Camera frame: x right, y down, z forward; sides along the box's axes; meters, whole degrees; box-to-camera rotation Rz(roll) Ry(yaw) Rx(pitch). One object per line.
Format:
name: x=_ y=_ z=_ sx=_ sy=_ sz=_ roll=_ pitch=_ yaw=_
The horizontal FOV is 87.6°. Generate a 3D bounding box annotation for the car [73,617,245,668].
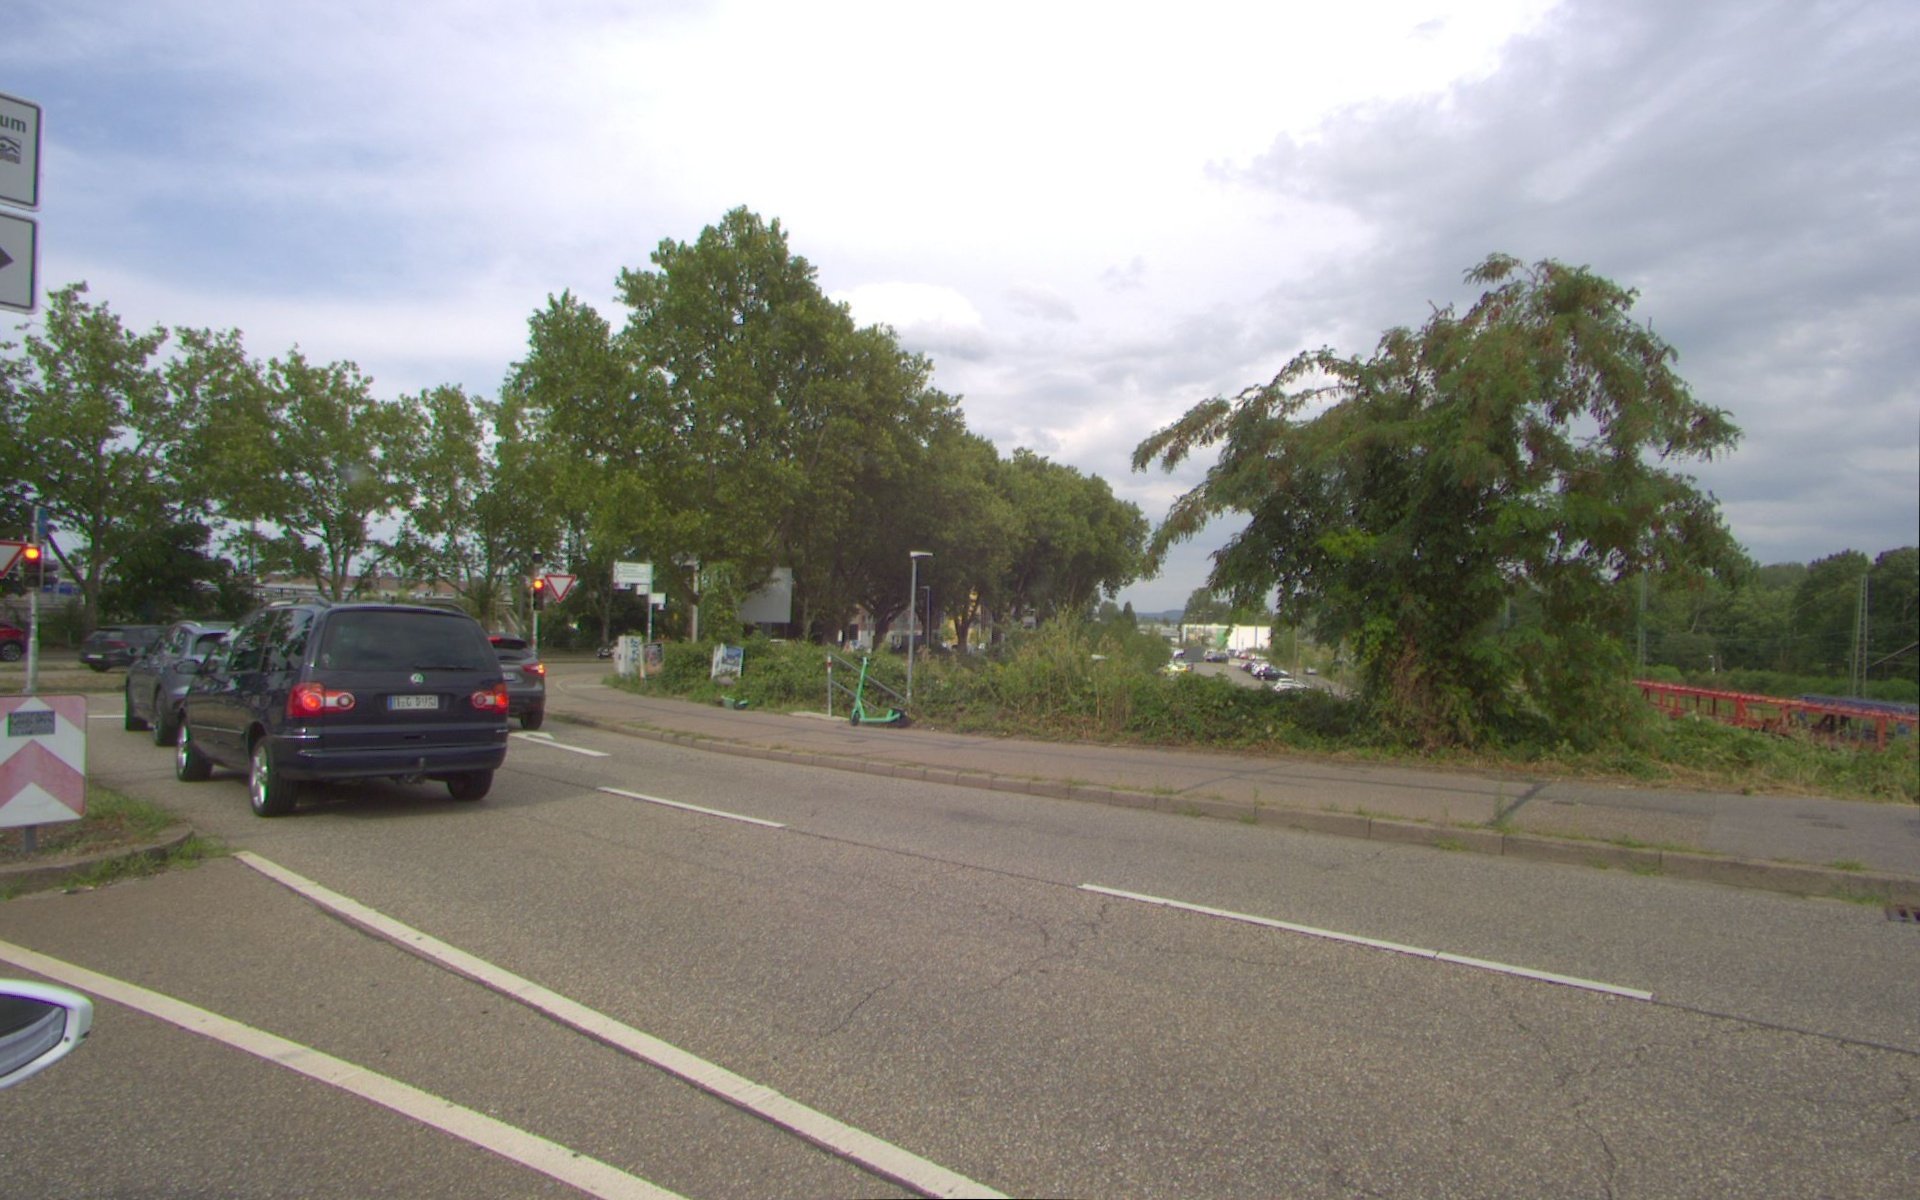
car: x=-25.189 y=1.312 z=31.672 sx=1.671 sy=1.469 sz=4.068 roll=0 pitch=-2 yaw=14

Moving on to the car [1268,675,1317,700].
car: x=30.023 y=7.915 z=90.495 sx=3.923 sy=2.040 sz=1.762 roll=1 pitch=-1 yaw=10

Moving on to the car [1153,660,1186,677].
car: x=26.713 y=8.709 z=127.670 sx=3.926 sy=2.040 sz=1.761 roll=1 pitch=-1 yaw=16

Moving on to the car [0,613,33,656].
car: x=-33.696 y=1.138 z=33.285 sx=1.670 sy=1.466 sz=3.963 roll=0 pitch=-1 yaw=12

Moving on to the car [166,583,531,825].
car: x=-5.785 y=0.848 z=9.269 sx=4.092 sy=1.746 sz=1.743 roll=-1 pitch=-4 yaw=42

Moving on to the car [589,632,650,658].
car: x=-22.257 y=2.900 z=65.575 sx=1.876 sy=1.616 sz=3.909 roll=1 pitch=-1 yaw=15

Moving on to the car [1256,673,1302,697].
car: x=30.174 y=8.020 z=94.816 sx=3.923 sy=2.040 sz=1.762 roll=1 pitch=-1 yaw=10

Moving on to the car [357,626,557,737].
car: x=-8.679 y=1.324 z=17.129 sx=4.094 sy=1.663 sz=1.742 roll=-2 pitch=-4 yaw=44

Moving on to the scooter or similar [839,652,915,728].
scooter or similar: x=-1.365 y=1.456 z=16.440 sx=1.262 sy=1.198 sz=0.396 roll=-1 pitch=-1 yaw=32

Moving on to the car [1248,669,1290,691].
car: x=32.110 y=8.290 z=104.245 sx=3.923 sy=2.040 sz=1.762 roll=1 pitch=-1 yaw=10

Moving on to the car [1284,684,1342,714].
car: x=26.893 y=7.506 z=76.367 sx=3.923 sy=2.040 sz=1.762 roll=1 pitch=-1 yaw=10

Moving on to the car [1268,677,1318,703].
car: x=28.970 y=7.811 z=87.182 sx=3.923 sy=2.040 sz=1.762 roll=1 pitch=-1 yaw=10

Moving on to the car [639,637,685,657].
car: x=-22.920 y=3.609 z=77.167 sx=1.670 sy=1.466 sz=3.963 roll=0 pitch=-1 yaw=12

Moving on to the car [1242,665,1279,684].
car: x=34.696 y=8.621 z=115.630 sx=3.923 sy=2.040 sz=1.762 roll=1 pitch=-1 yaw=10

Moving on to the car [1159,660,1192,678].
car: x=26.843 y=8.644 z=124.771 sx=3.926 sy=2.040 sz=1.761 roll=1 pitch=-1 yaw=16

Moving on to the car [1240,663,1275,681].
car: x=36.917 y=8.882 z=124.407 sx=3.923 sy=2.040 sz=1.762 roll=1 pitch=-1 yaw=10

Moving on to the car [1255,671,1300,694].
car: x=31.225 y=8.135 z=98.587 sx=3.923 sy=2.040 sz=1.762 roll=1 pitch=-1 yaw=10

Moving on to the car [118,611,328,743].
car: x=-10.533 y=1.035 z=14.196 sx=4.113 sy=1.604 sz=1.682 roll=-2 pitch=-4 yaw=44

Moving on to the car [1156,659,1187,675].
car: x=28.017 y=8.854 z=132.499 sx=3.926 sy=2.040 sz=1.761 roll=1 pitch=-1 yaw=16

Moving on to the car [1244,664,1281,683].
car: x=36.120 y=8.748 z=119.576 sx=3.923 sy=2.040 sz=1.762 roll=1 pitch=-1 yaw=10

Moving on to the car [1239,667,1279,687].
car: x=32.900 y=8.451 z=110.275 sx=3.923 sy=2.040 sz=1.762 roll=1 pitch=-1 yaw=10
